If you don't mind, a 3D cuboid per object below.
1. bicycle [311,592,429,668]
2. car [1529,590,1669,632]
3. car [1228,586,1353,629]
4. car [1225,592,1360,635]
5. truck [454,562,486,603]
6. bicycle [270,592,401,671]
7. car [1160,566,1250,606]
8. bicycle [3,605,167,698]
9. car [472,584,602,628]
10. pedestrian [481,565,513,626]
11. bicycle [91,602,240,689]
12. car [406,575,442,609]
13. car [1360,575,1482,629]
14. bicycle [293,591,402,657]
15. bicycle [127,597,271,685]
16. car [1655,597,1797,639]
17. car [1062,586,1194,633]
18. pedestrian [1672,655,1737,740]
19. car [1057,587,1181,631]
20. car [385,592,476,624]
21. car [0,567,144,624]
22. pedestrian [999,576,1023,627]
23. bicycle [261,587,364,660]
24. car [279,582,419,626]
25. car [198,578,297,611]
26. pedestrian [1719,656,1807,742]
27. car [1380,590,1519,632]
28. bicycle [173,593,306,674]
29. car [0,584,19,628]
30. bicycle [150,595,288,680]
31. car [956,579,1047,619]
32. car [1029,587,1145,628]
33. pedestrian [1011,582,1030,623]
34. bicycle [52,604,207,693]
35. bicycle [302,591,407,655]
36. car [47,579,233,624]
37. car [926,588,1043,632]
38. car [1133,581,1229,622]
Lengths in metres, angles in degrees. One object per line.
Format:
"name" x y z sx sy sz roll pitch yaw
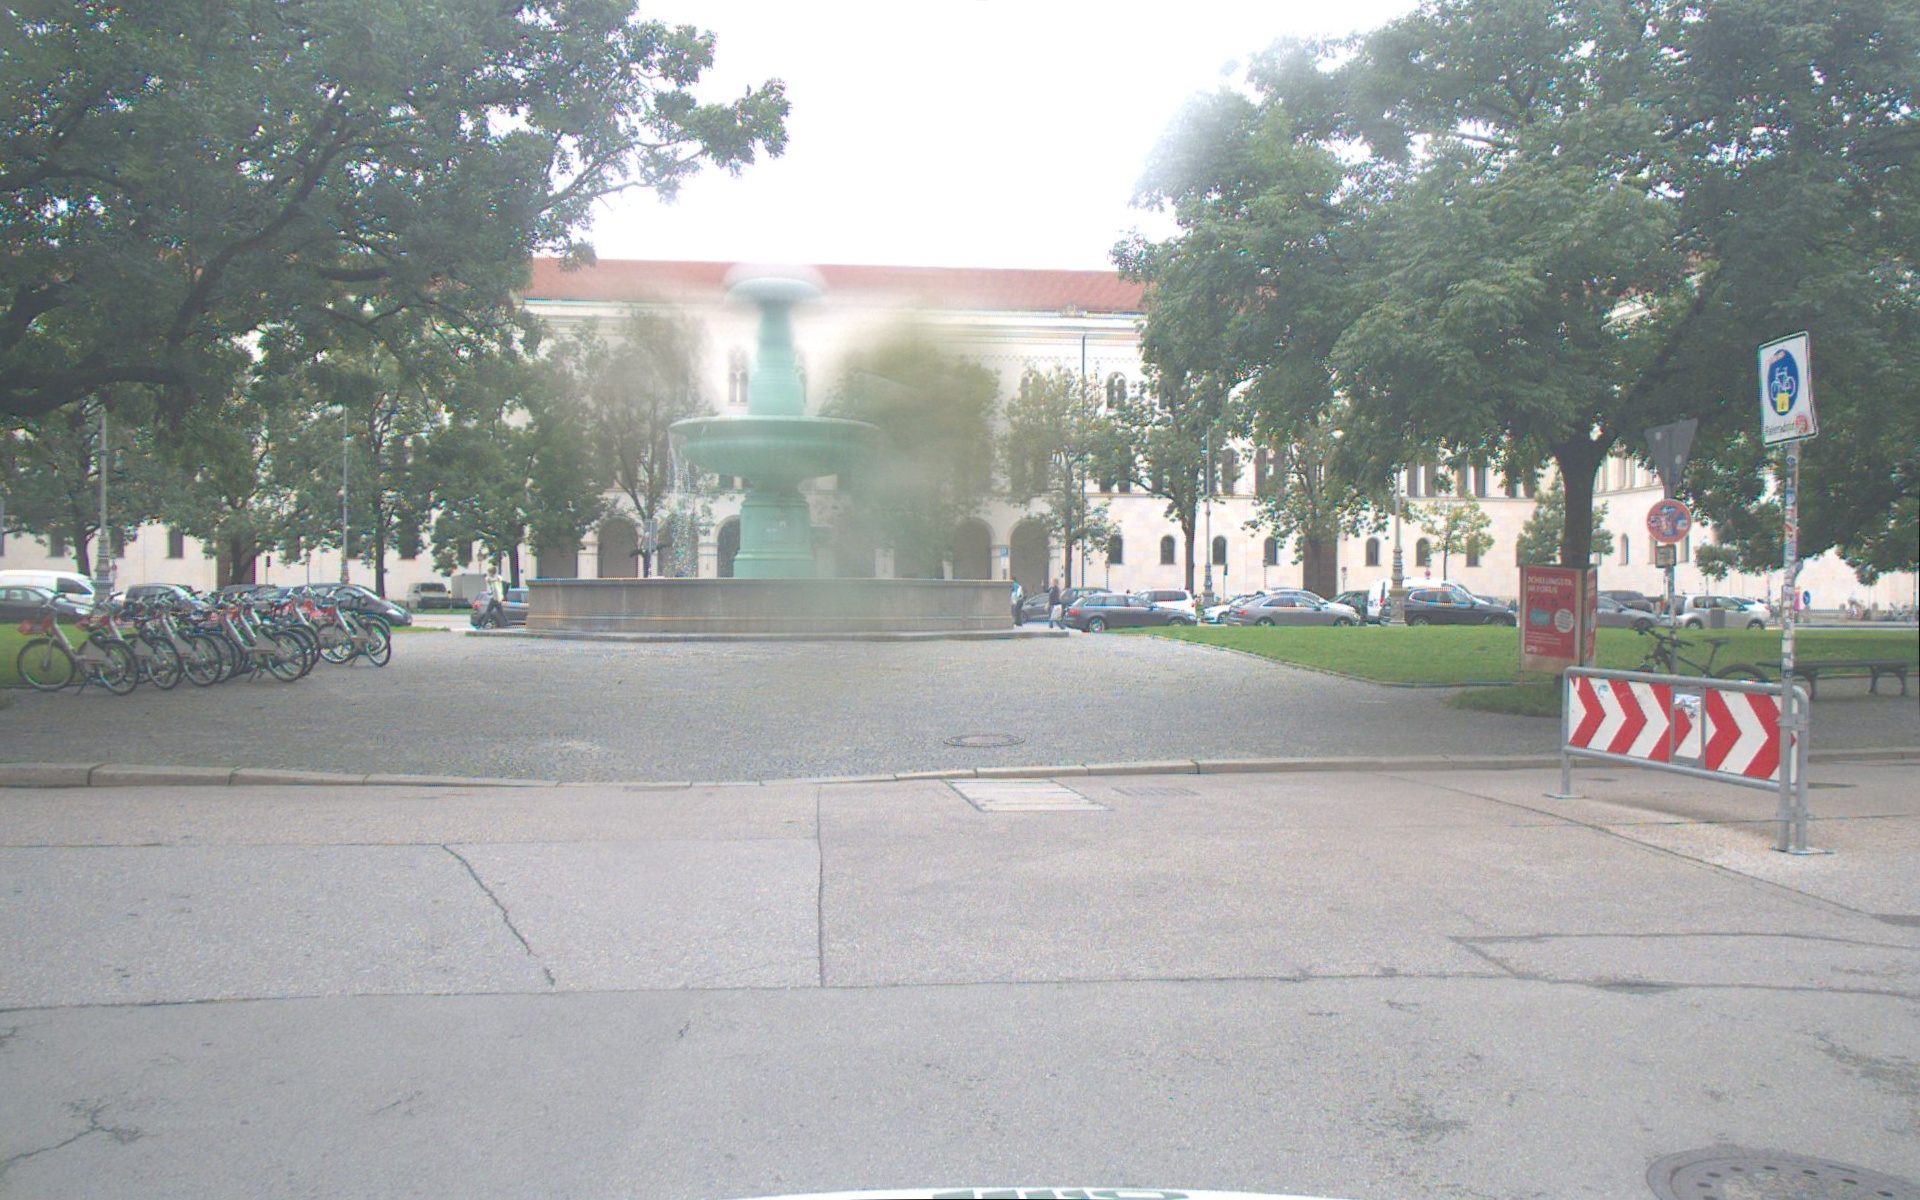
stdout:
"bicycle" -9.032 0.454 25.340 1.584 1.118 0.617 1 0 5
"car" 22.523 0.371 58.375 4.271 1.443 1.802 0 1 -4
"car" 12.268 0.277 61.518 4.271 1.551 1.802 0 1 -4
"car" 11.457 0.444 57.216 4.271 1.443 1.802 0 1 -4
"truck" -31.844 -1.149 107.574 1.961 2.532 3.982 1 1 -16
"bicycle" -9.297 0.458 24.640 1.674 1.118 0.699 1 0 5
"car" 11.727 -0.658 79.238 3.912 1.815 1.928 1 1 -8
"bicycle" -10.406 0.600 19.697 1.584 1.054 0.699 1 0 5
"car" -13.891 0.182 54.559 3.911 1.400 1.997 0 1 -7
"pedestrian" -12.628 -0.129 45.118 0.736 1.668 0.709 0 0 -6
"bicycle" -10.216 0.576 21.285 1.584 1.054 0.699 1 0 5
"car" -33.963 -0.513 104.695 2.099 2.049 4.169 1 1 -19
"car" 18.136 0.066 65.182 4.239 2.049 1.823 1 0 -2
"bicycle" -10.054 0.389 27.176 1.503 1.037 0.699 1 0 5
"bicycle" -10.126 0.537 22.027 1.584 1.118 0.699 1 0 5
"car" 27.219 0.620 58.864 4.271 1.443 1.802 0 1 -4
"car" 5.706 0.310 56.527 4.271 1.551 1.802 0 1 -4
"pedestrian" 7.152 0.935 15.898 0.406 0.776 0.460 1 0 -1
"car" 5.744 0.307 60.019 4.271 1.551 1.802 0 1 -4
"car" -23.555 0.340 73.646 3.603 1.400 1.600 0 1 -9
"car" -32.461 -0.173 60.322 4.456 2.049 1.995 0 1 -12
"pedestrian" 1.510 0.035 48.885 0.570 1.491 0.548 0 0 18
"bicycle" -10.281 0.368 26.284 1.371 1.118 0.657 1 0 5
"car" -19.804 0.125 53.752 3.911 1.400 1.997 0 1 -7
"car" -30.567 -0.231 71.037 3.602 1.400 1.600 0 1 -7
"pedestrian" 7.728 0.944 15.928 0.557 0.776 0.566 1 0 -1
"car" 16.994 0.370 57.542 4.271 1.443 1.802 0 1 -4
"bicycle" -10.317 0.472 23.701 1.584 1.118 0.699 1 0 5
"car" -32.994 0.178 52.610 4.873 1.400 1.997 0 1 -7
"bicycle" -10.212 0.510 22.807 1.584 1.118 0.699 1 0 5
"car" 1.866 -0.054 74.565 3.911 1.780 1.806 0 1 -7
"car" 4.873 0.280 63.904 4.271 1.551 1.802 0 1 -4
"pedestrian" 1.826 0.068 49.859 0.433 1.235 0.535 0 0 20
"bicycle" -10.300 0.591 20.536 1.584 1.054 0.699 1 0 5
"bicycle" -10.227 0.373 27.958 1.503 1.037 0.699 1 0 5
"car" -26.412 0.028 53.433 4.976 1.400 1.997 0 1 -7
"car" 0.806 0.324 56.487 3.908 1.427 1.823 0 0 -3
"car" 10.034 0.056 75.249 4.021 1.771 1.743 1 1 -9
